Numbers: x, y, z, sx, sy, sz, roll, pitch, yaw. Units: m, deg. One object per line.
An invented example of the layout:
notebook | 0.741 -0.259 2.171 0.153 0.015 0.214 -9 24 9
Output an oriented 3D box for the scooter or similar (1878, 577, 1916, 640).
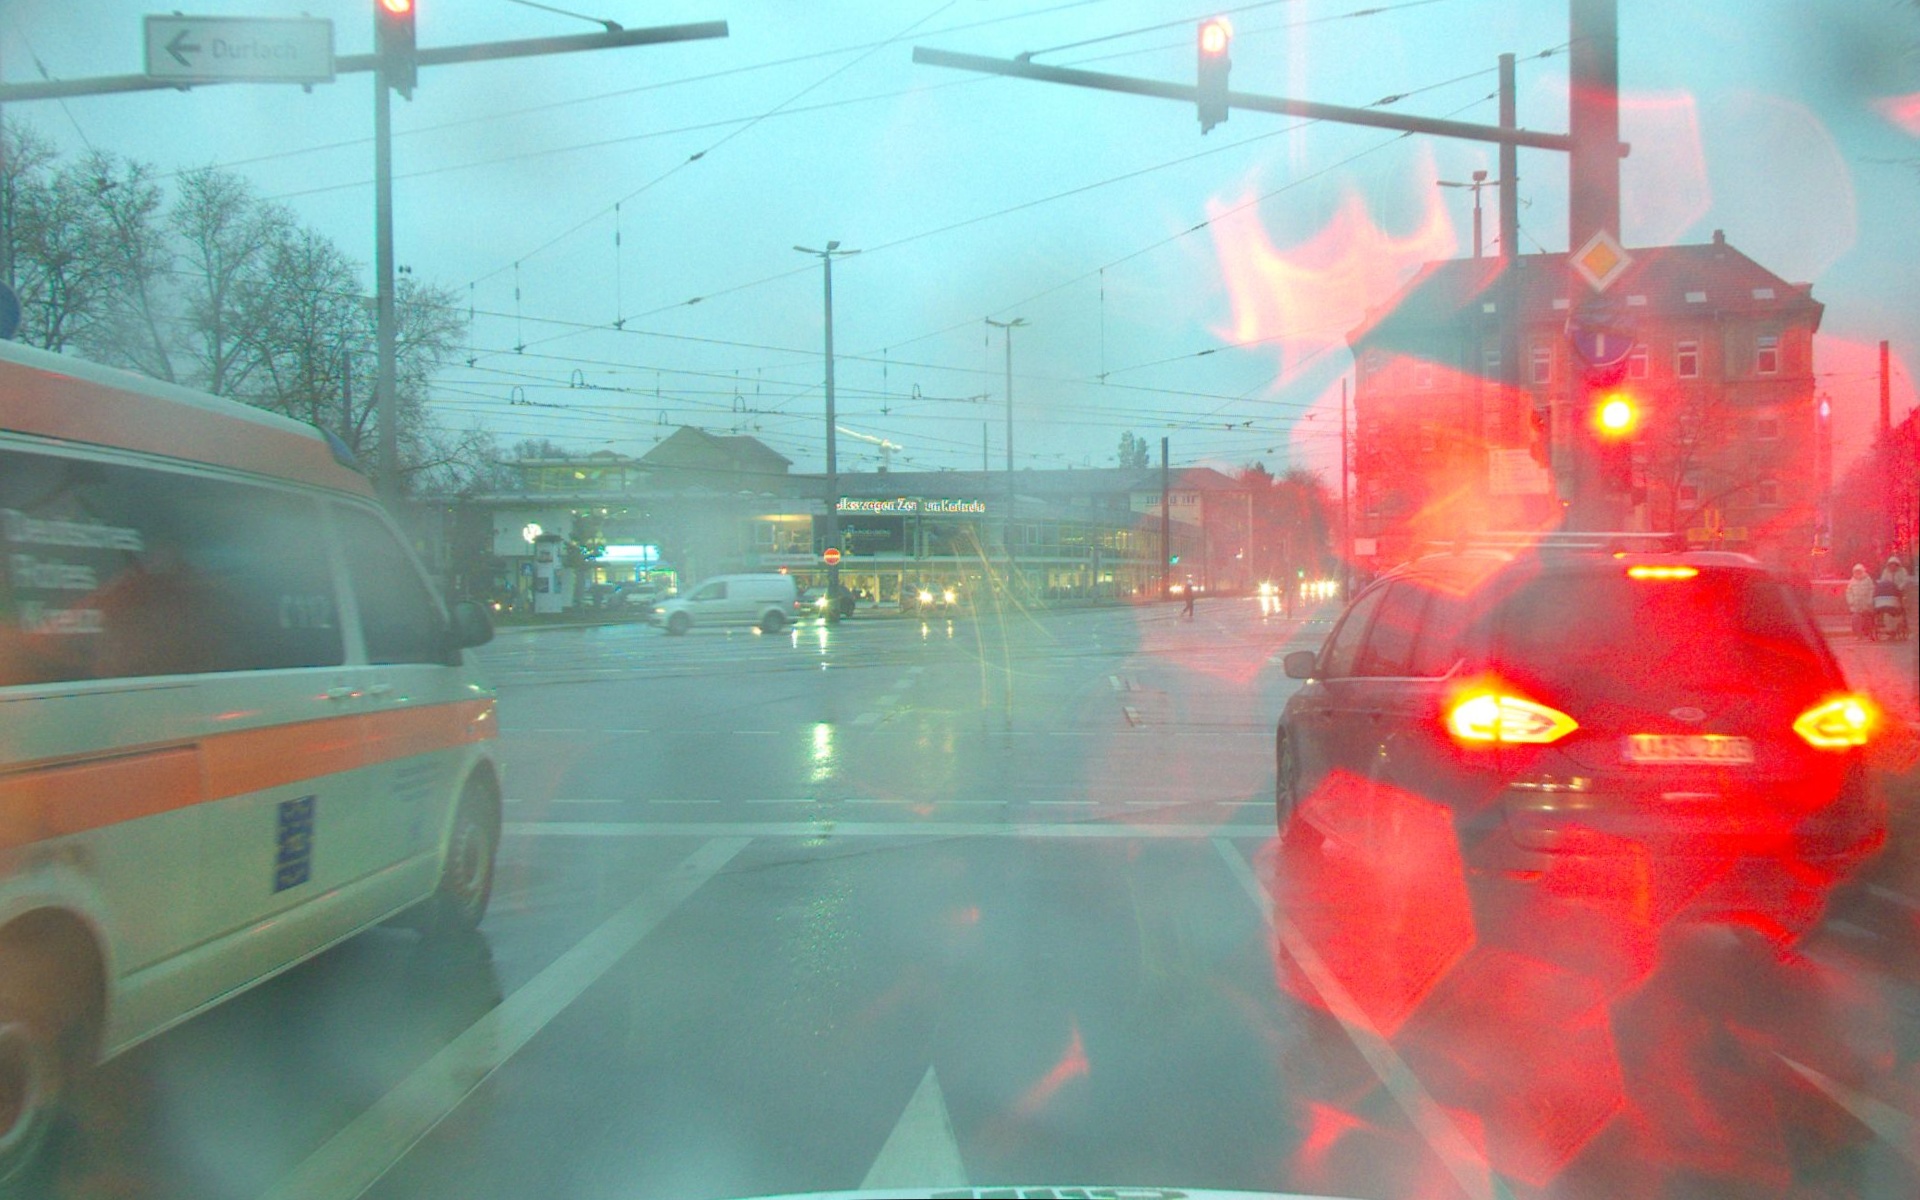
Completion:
scooter or similar | 20.305 0.180 35.852 0.663 1.340 0.826 -1 0 27

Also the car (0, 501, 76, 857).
car | -5.738 0.407 7.083 1.847 1.803 3.999 0 0 -2

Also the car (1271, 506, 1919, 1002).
car | 2.798 0.539 8.352 1.741 1.831 4.426 0 1 2

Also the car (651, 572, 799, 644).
car | -7.398 0.286 52.085 4.335 2.049 1.901 2 -3 -19

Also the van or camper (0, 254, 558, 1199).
van or camper | -3.019 0.346 5.258 2.156 2.146 4.988 1 0 1

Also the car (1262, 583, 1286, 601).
car | 29.999 -0.748 157.918 1.823 1.629 3.788 -1 0 18

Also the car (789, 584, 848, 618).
car | -6.493 0.042 76.179 1.774 1.472 4.003 -1 0 9

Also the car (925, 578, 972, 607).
car | -0.586 -0.387 85.537 1.774 1.472 4.003 -1 0 9

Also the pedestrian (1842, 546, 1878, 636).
pedestrian | 20.063 -0.198 36.884 0.663 1.984 0.661 -1 0 27

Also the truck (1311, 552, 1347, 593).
truck | 25.258 -1.866 113.161 1.951 2.738 5.118 -1 0 17

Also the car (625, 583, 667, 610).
car | -20.280 -0.233 106.925 1.824 1.629 4.001 -1 0 2

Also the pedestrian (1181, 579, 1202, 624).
pedestrian | 9.700 0.063 69.322 0.586 1.872 0.611 -1 0 -35

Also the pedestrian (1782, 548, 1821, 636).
pedestrian | 19.108 -0.185 37.544 0.665 1.984 0.674 -1 0 36

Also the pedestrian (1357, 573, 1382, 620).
pedestrian | 17.816 -0.155 71.953 0.720 2.049 0.781 -1 0 -29

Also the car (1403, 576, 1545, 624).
car | 19.012 0.006 61.284 4.704 1.686 1.739 -1 0 -5

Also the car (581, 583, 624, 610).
car | -23.127 -0.227 107.141 1.824 1.629 4.001 -1 0 2

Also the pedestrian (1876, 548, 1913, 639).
pedestrian | 20.631 -0.150 36.534 0.663 1.984 0.661 -1 0 27
